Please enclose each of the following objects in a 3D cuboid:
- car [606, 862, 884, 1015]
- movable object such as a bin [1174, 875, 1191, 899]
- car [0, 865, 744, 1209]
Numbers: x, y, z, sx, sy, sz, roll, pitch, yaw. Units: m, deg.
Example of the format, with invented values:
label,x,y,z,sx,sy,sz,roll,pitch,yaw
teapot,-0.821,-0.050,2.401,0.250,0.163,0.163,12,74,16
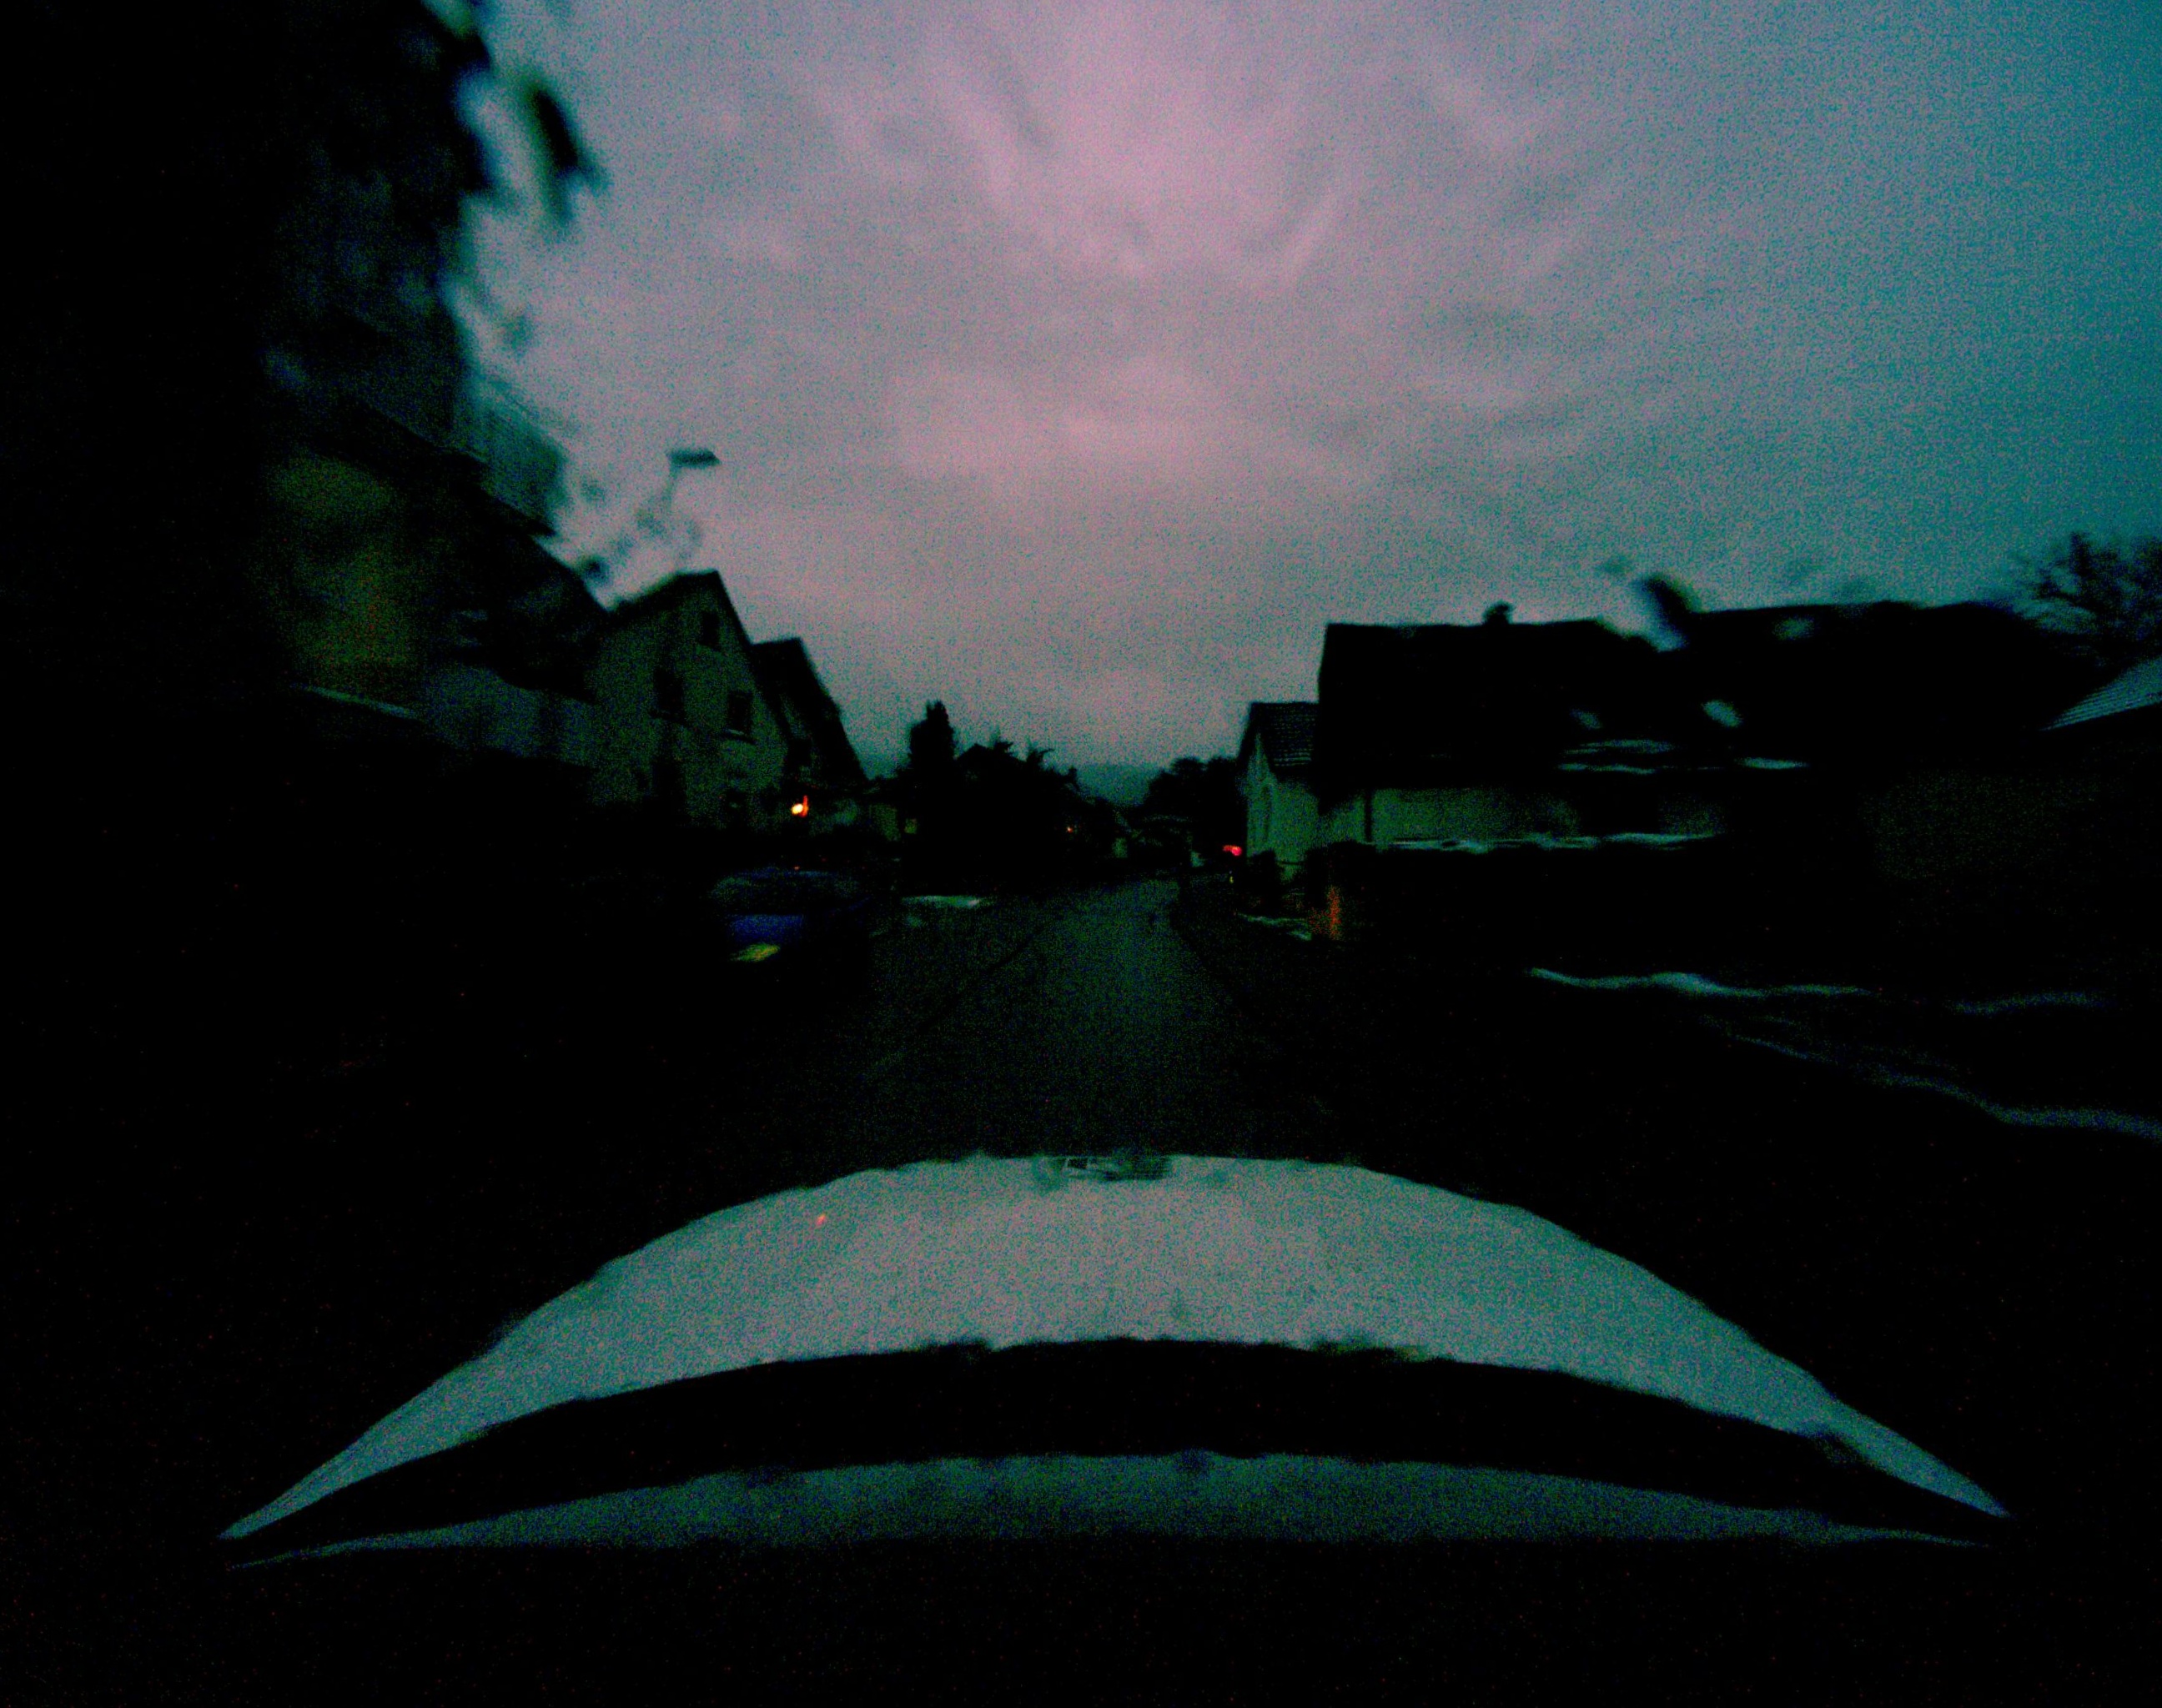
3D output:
label,x,y,z,sx,sy,sz,roll,pitch,yaw
car,-3.710,0.829,9.810,1.662,1.410,3.914,0,0,1
movable object such as a bin,4.200,1.357,33.579,0.610,0.946,0.596,-4,-3,9
car,-3.886,0.809,5.360,1.658,1.418,3.692,1,0,2
